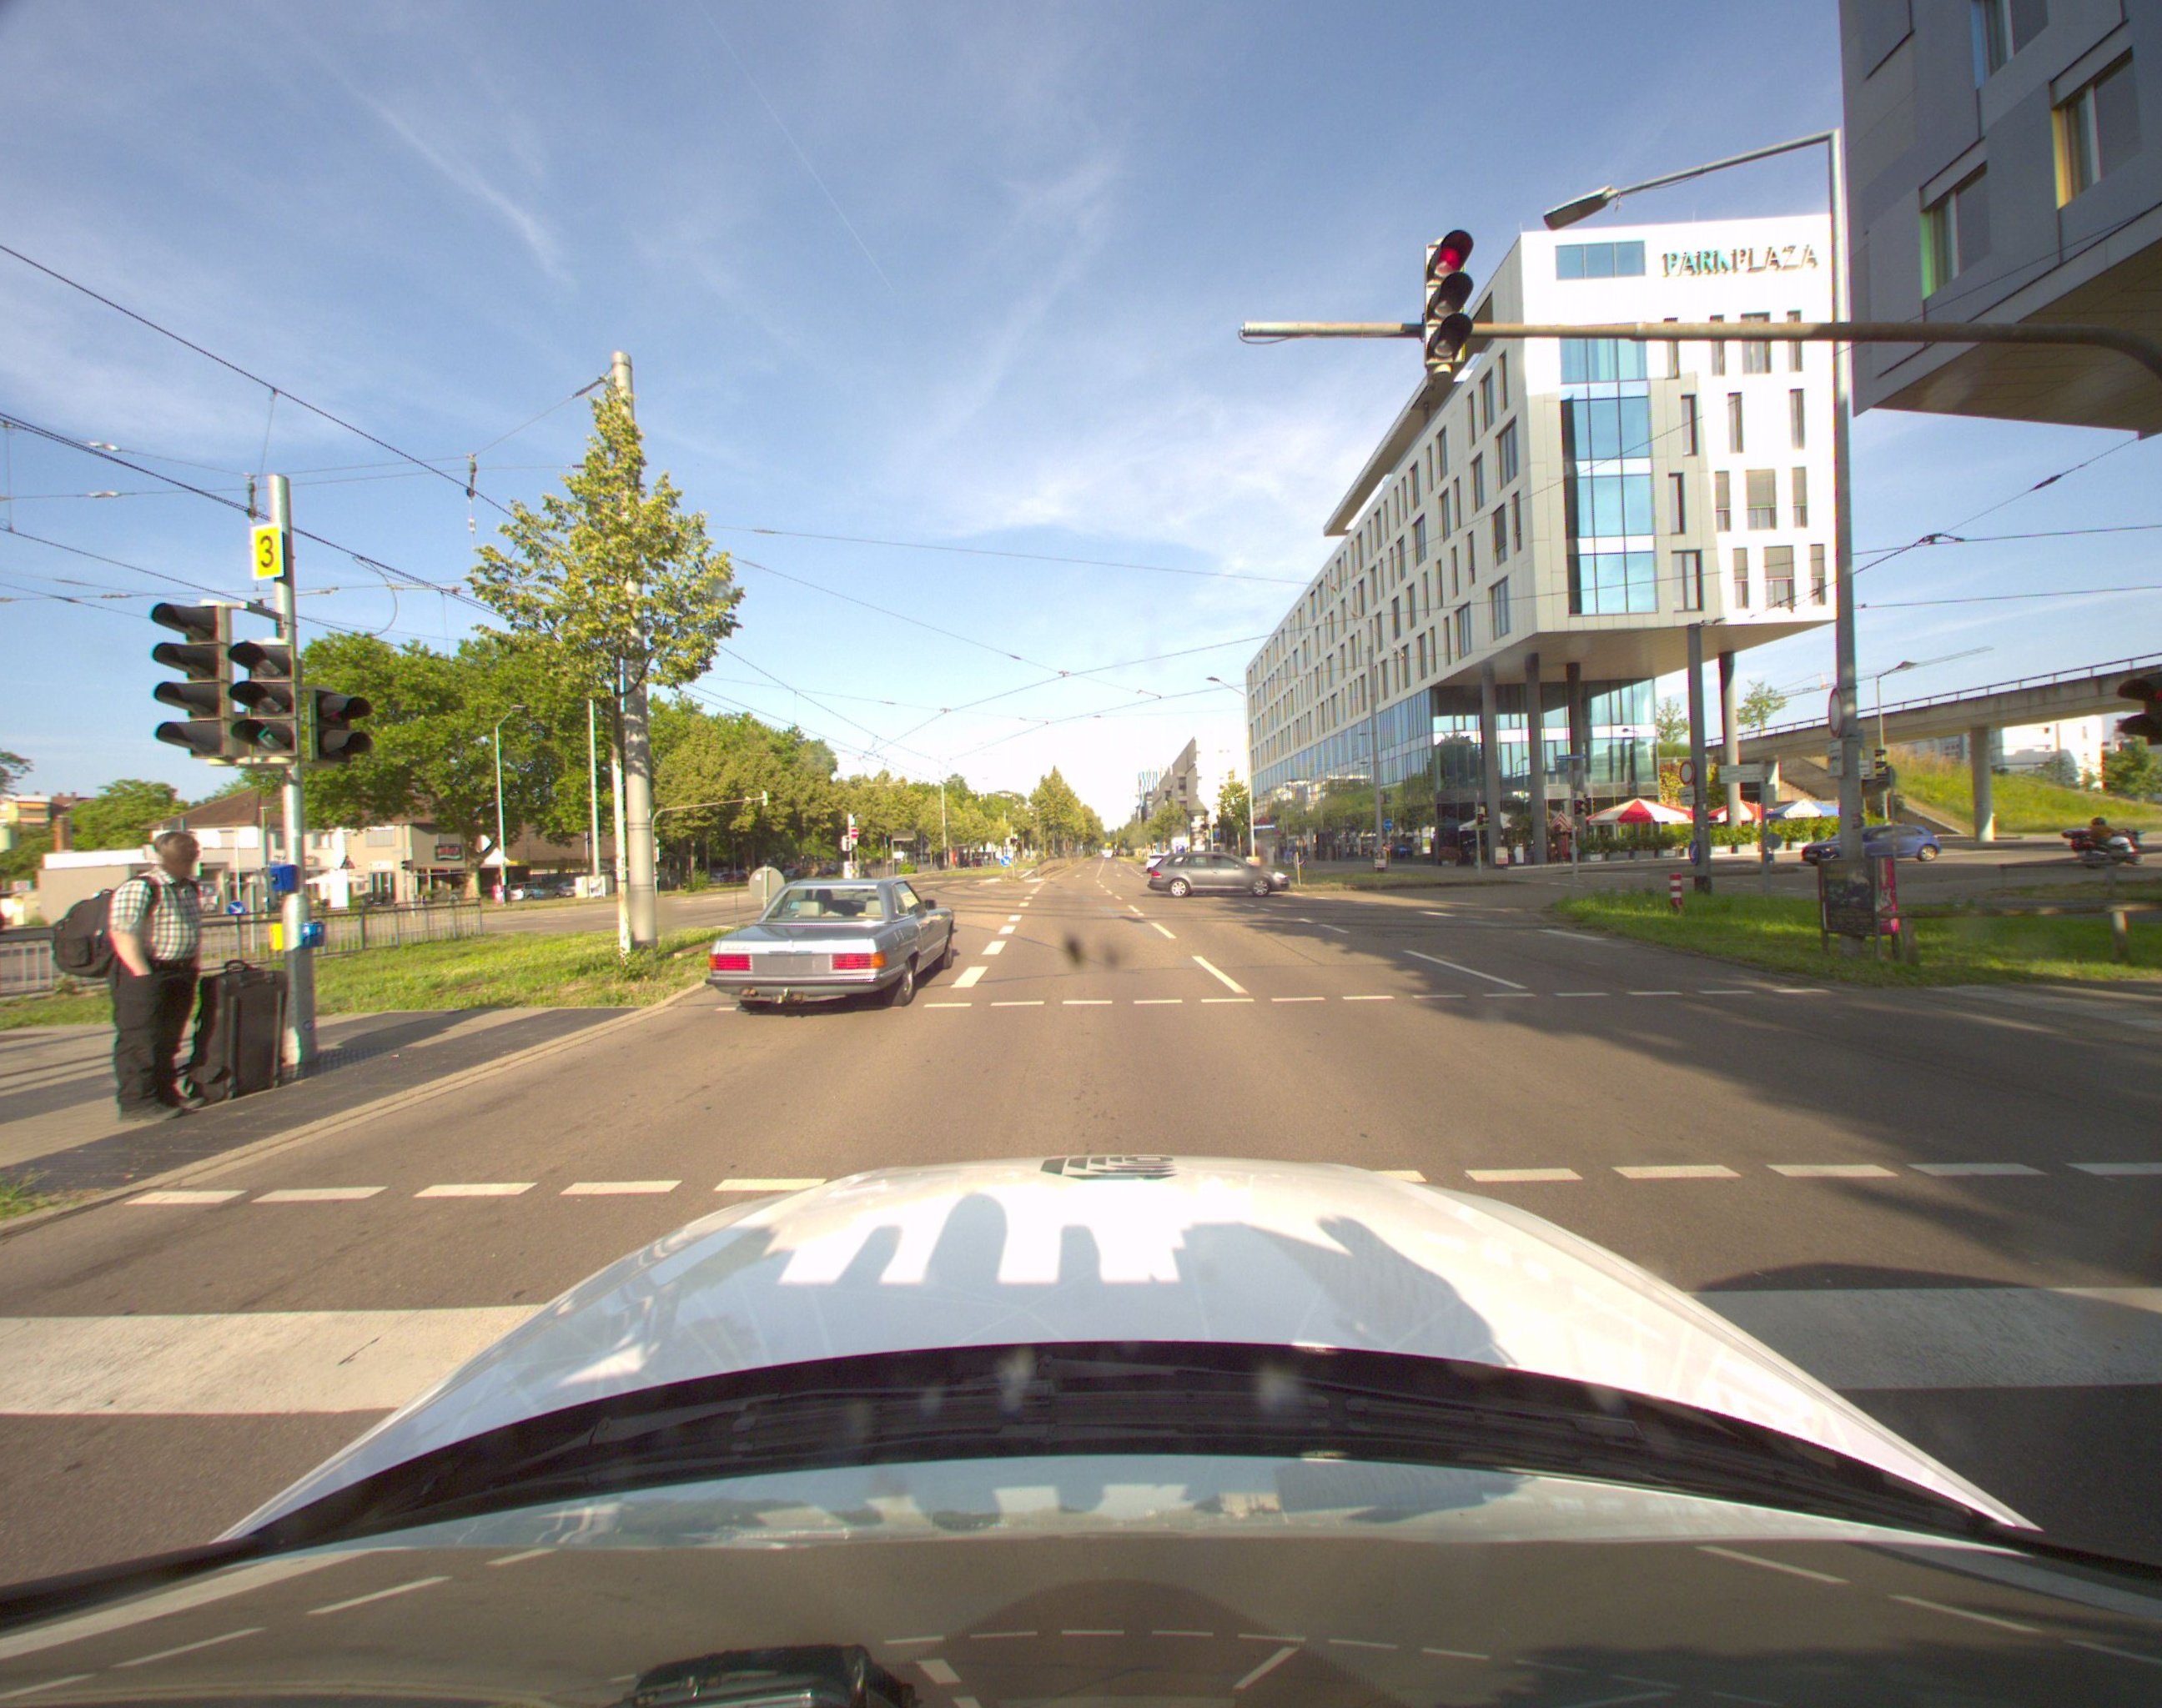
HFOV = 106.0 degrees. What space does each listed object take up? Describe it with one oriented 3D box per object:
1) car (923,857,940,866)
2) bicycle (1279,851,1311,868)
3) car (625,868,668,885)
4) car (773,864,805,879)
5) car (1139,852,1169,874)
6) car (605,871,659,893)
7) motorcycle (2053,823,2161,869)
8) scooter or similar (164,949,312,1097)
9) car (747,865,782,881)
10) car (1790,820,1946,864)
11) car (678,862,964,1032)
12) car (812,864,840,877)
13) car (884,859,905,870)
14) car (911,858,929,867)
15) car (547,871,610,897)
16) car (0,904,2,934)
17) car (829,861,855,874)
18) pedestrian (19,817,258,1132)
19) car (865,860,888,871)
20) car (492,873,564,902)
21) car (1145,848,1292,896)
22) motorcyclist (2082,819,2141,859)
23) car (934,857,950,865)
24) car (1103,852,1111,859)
[{"bbox_3d":[-27.547,1.411,150.407,1.871,1.559,4.008,-3,0,7],"label":"car"},{"bbox_3d":[13.860,0.356,52.805,0.778,1.032,1.856,-2,2,-42],"label":"bicycle"},{"bbox_3d":[-43.787,2.222,82.163,1.871,1.559,4.008,-3,0,7],"label":"car"},{"bbox_3d":[-34.062,2.067,95.162,1.871,1.559,4.008,-3,0,7],"label":"car"},{"bbox_3d":[5.583,0.724,62.748,1.986,1.504,4.094,-3,-1,1],"label":"car"},{"bbox_3d":[-37.027,2.277,67.246,1.871,1.559,4.008,-3,0,7],"label":"car"},{"bbox_3d":[31.716,-0.244,25.071,2.532,1.263,0.821,-3,0,0],"label":"motorcycle"},{"bbox_3d":[-5.675,1.122,5.499,0.546,0.907,0.430,0,0,2],"label":"scooter or similar"},{"bbox_3d":[-34.752,2.042,89.602,1.871,1.559,4.008,-3,0,7],"label":"car"},{"bbox_3d":[30.228,-0.464,31.382,4.170,1.424,1.859,-3,0,1],"label":"car"},{"bbox_3d":[-2.553,0.822,9.221,1.758,1.330,4.400,-1,1,0],"label":"car"},{"bbox_3d":[-32.774,2.093,104.591,1.871,1.559,4.008,-3,0,7],"label":"car"},{"bbox_3d":[-29.707,1.653,130.020,1.871,1.559,4.008,-3,0,7],"label":"car"},{"bbox_3d":[-28.476,1.479,144.140,1.871,1.559,4.008,-3,0,7],"label":"car"},{"bbox_3d":[-37.716,2.245,61.204,1.871,1.750,4.008,-3,0,7],"label":"car"},{"bbox_3d":[-63.535,3.794,45.643,3.964,1.728,2.005,-2,0,8],"label":"car"},{"bbox_3d":[-32.105,1.783,109.660,1.871,1.559,4.008,-3,0,7],"label":"car"},{"bbox_3d":[-5.703,0.686,4.965,0.697,1.792,0.636,-1,0,2],"label":"pedestrian"},{"bbox_3d":[-30.672,1.740,122.116,1.871,1.559,4.008,-3,0,7],"label":"car"},{"bbox_3d":[-38.234,2.295,56.453,1.871,1.750,4.008,-3,0,7],"label":"car"},{"bbox_3d":[4.493,0.586,26.517,4.525,1.461,1.742,-1,-1,16],"label":"car"},{"bbox_3d":[31.696,-0.450,25.061,0.841,1.202,0.785,0,0,2],"label":"motorcyclist"},{"bbox_3d":[-26.796,1.343,156.818,1.871,1.559,4.008,-3,0,7],"label":"car"},{"bbox_3d":[6.619,0.411,205.196,1.857,1.684,4.003,0,1,2],"label":"car"}]
